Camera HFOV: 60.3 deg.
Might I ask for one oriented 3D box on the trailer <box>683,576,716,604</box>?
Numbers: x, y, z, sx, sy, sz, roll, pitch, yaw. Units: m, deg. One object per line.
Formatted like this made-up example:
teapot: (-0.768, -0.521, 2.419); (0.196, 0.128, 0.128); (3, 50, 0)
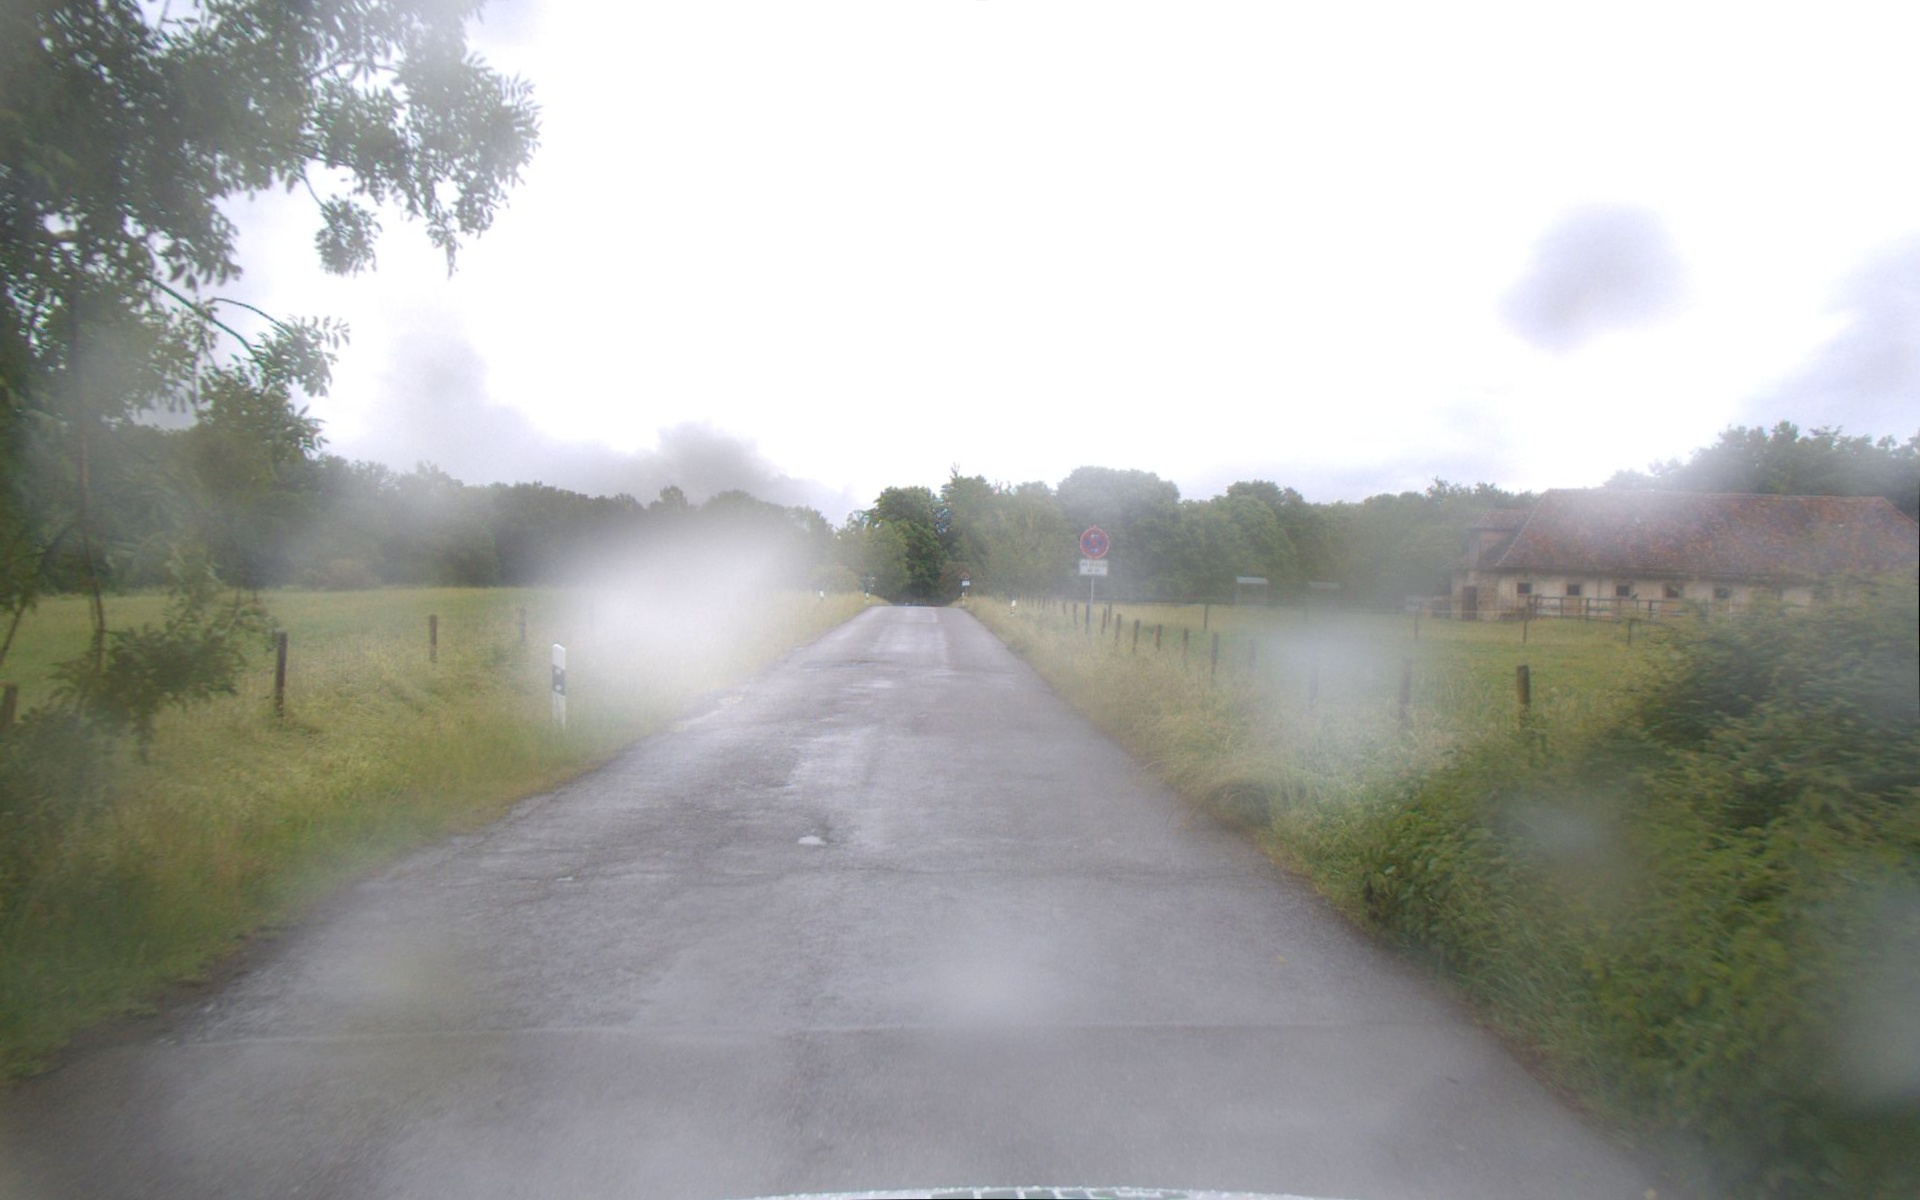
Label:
trailer: (-15.097, -0.593, 95.793); (1.720, 1.531, 3.081); (1, 0, -12)
